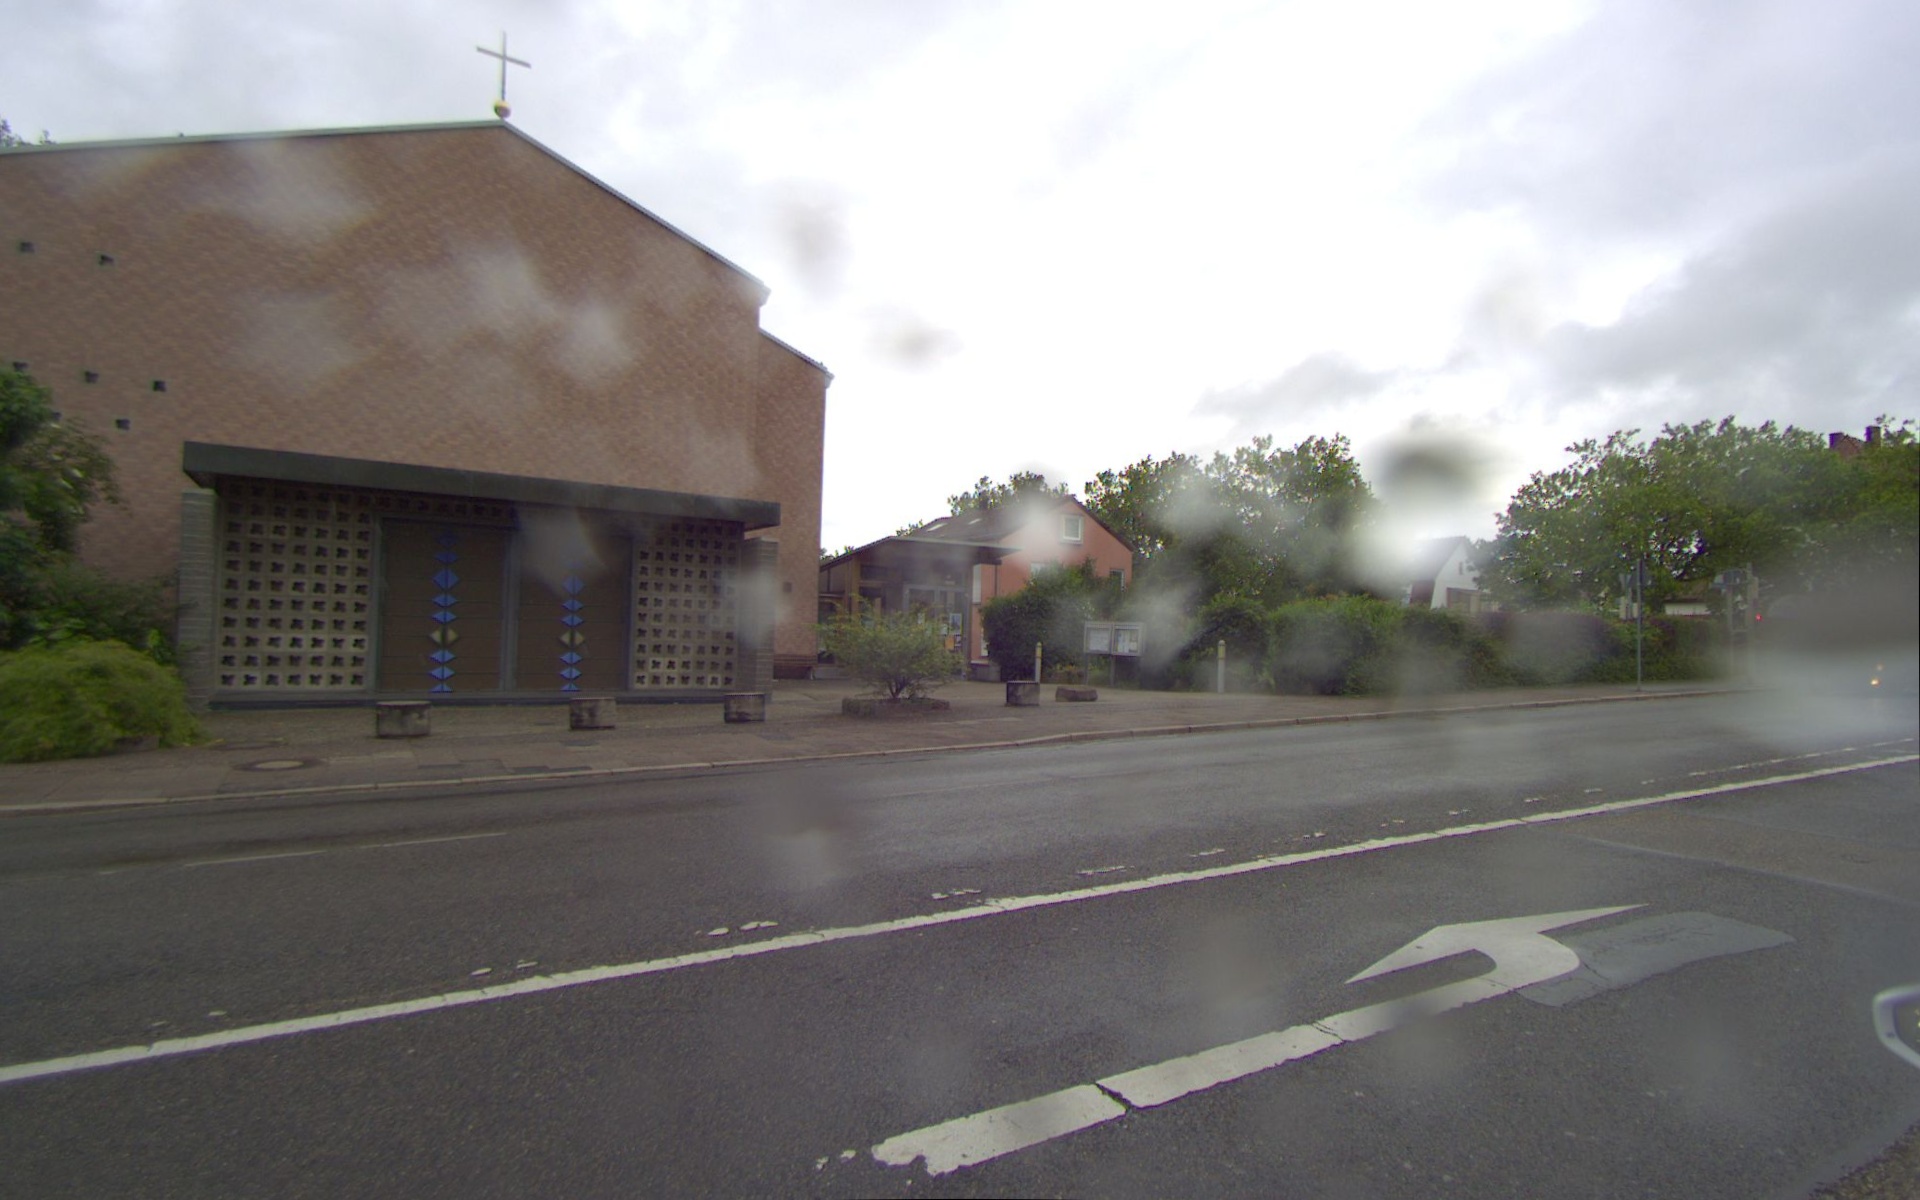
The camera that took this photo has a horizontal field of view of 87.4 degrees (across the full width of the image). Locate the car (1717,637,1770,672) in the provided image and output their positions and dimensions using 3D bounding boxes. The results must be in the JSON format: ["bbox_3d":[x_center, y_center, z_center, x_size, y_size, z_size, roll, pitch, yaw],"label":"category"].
[{"bbox_3d":[38.629,2.648,49.536,1.969,1.572,3.983,0,-1,38],"label":"car"}]

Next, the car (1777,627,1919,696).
[{"bbox_3d":[21.994,1.430,24.439,3.906,1.530,1.985,1,-1,-29],"label":"car"}]
